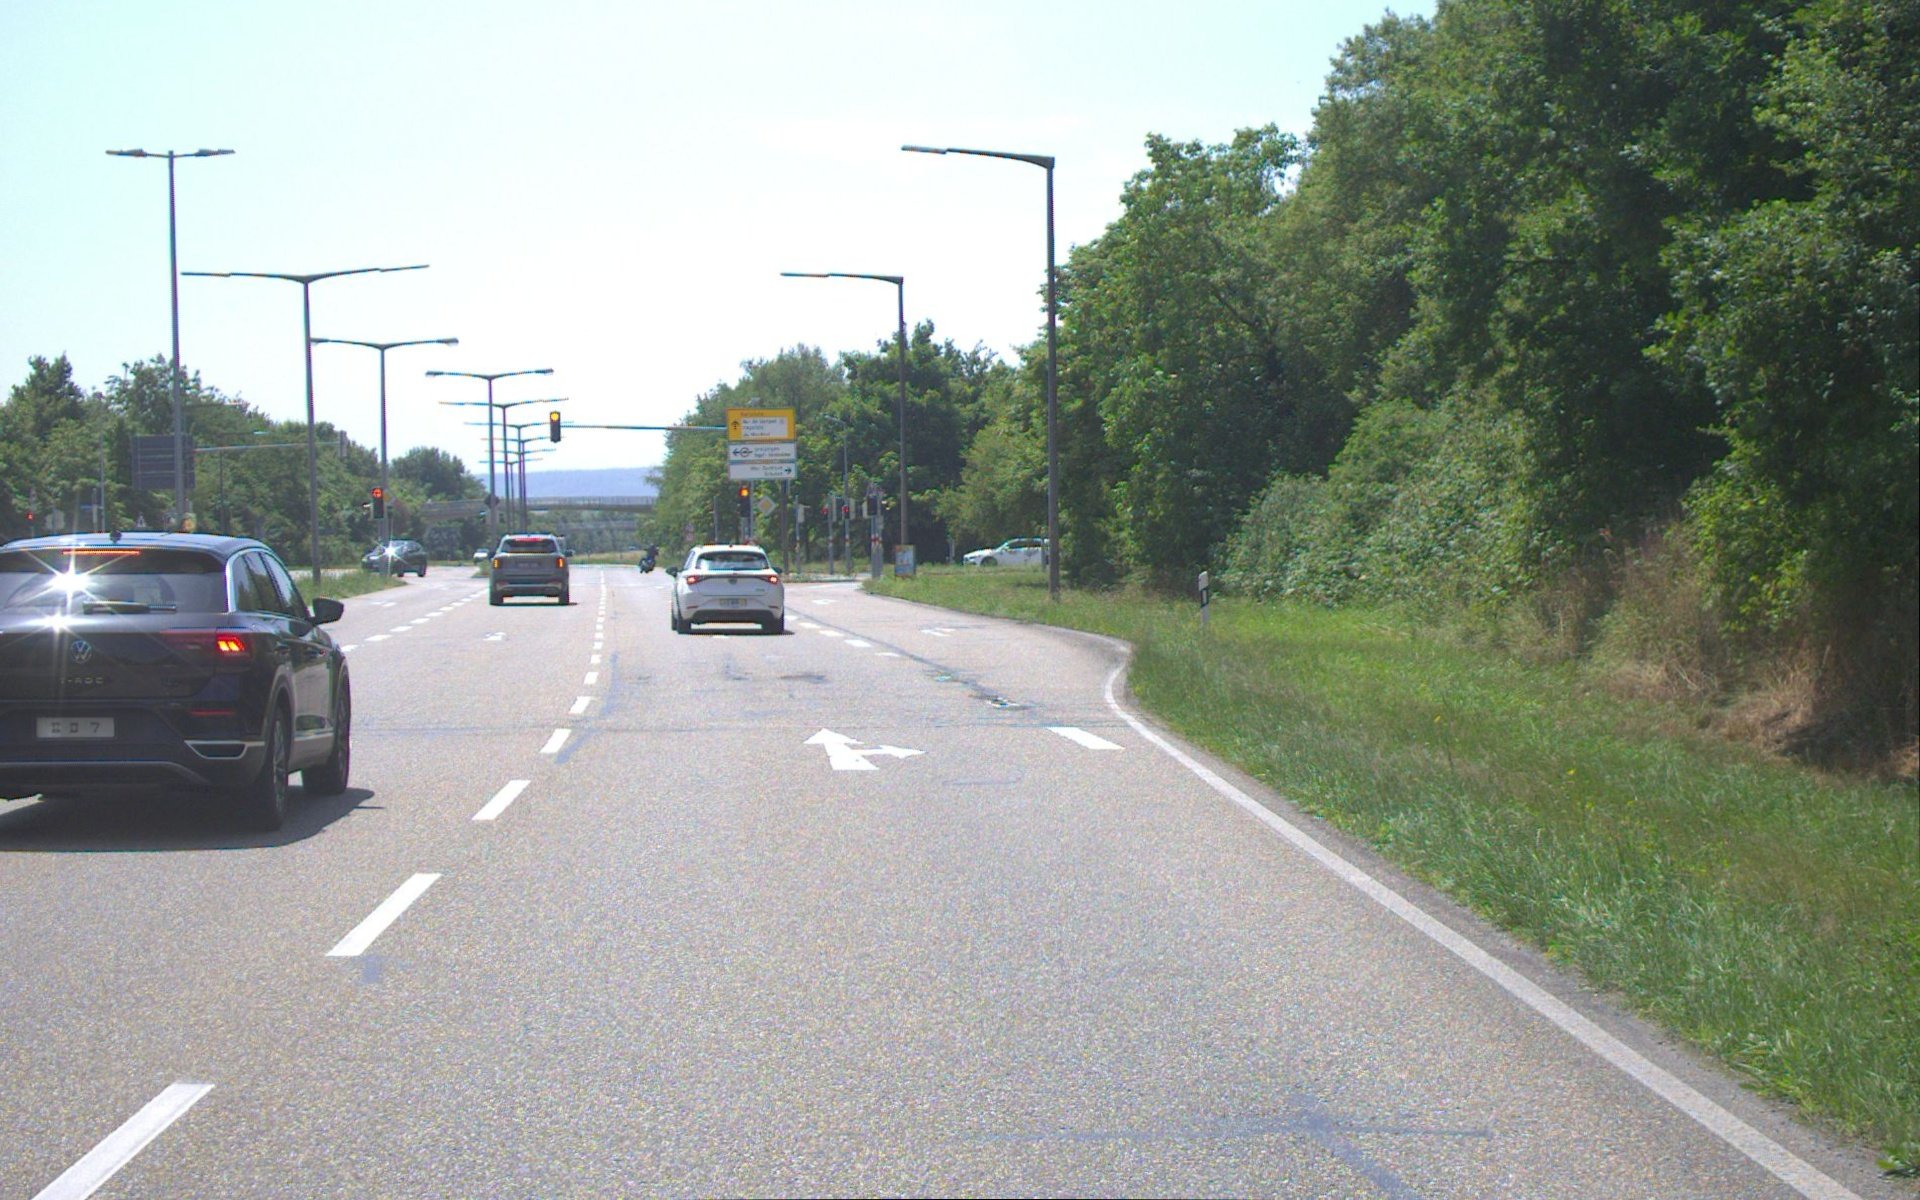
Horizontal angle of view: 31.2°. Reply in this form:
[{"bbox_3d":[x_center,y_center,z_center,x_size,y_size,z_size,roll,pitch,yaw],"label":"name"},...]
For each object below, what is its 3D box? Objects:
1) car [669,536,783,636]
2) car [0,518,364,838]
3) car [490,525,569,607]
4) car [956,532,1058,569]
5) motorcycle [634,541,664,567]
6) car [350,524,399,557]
[{"bbox_3d":[-3.890,-0.253,57.099,1.797,1.577,4.001,-1,1,-4],"label":"car"},{"bbox_3d":[-4.390,0.355,18.784,1.755,1.551,4.001,-1,1,-3],"label":"car"},{"bbox_3d":[-10.461,-0.833,83.691,1.755,1.922,4.001,-1,1,-5],"label":"car"},{"bbox_3d":[2.048,-2.171,150.684,4.100,1.520,1.939,-1,1,-13],"label":"car"},{"bbox_3d":[-15.789,-2.344,174.496,1.424,1.276,2.569,-2,1,-6],"label":"motorcycle"},{"bbox_3d":[-27.382,-2.787,160.919,1.828,1.514,4.001,0,1,-3],"label":"car"}]
